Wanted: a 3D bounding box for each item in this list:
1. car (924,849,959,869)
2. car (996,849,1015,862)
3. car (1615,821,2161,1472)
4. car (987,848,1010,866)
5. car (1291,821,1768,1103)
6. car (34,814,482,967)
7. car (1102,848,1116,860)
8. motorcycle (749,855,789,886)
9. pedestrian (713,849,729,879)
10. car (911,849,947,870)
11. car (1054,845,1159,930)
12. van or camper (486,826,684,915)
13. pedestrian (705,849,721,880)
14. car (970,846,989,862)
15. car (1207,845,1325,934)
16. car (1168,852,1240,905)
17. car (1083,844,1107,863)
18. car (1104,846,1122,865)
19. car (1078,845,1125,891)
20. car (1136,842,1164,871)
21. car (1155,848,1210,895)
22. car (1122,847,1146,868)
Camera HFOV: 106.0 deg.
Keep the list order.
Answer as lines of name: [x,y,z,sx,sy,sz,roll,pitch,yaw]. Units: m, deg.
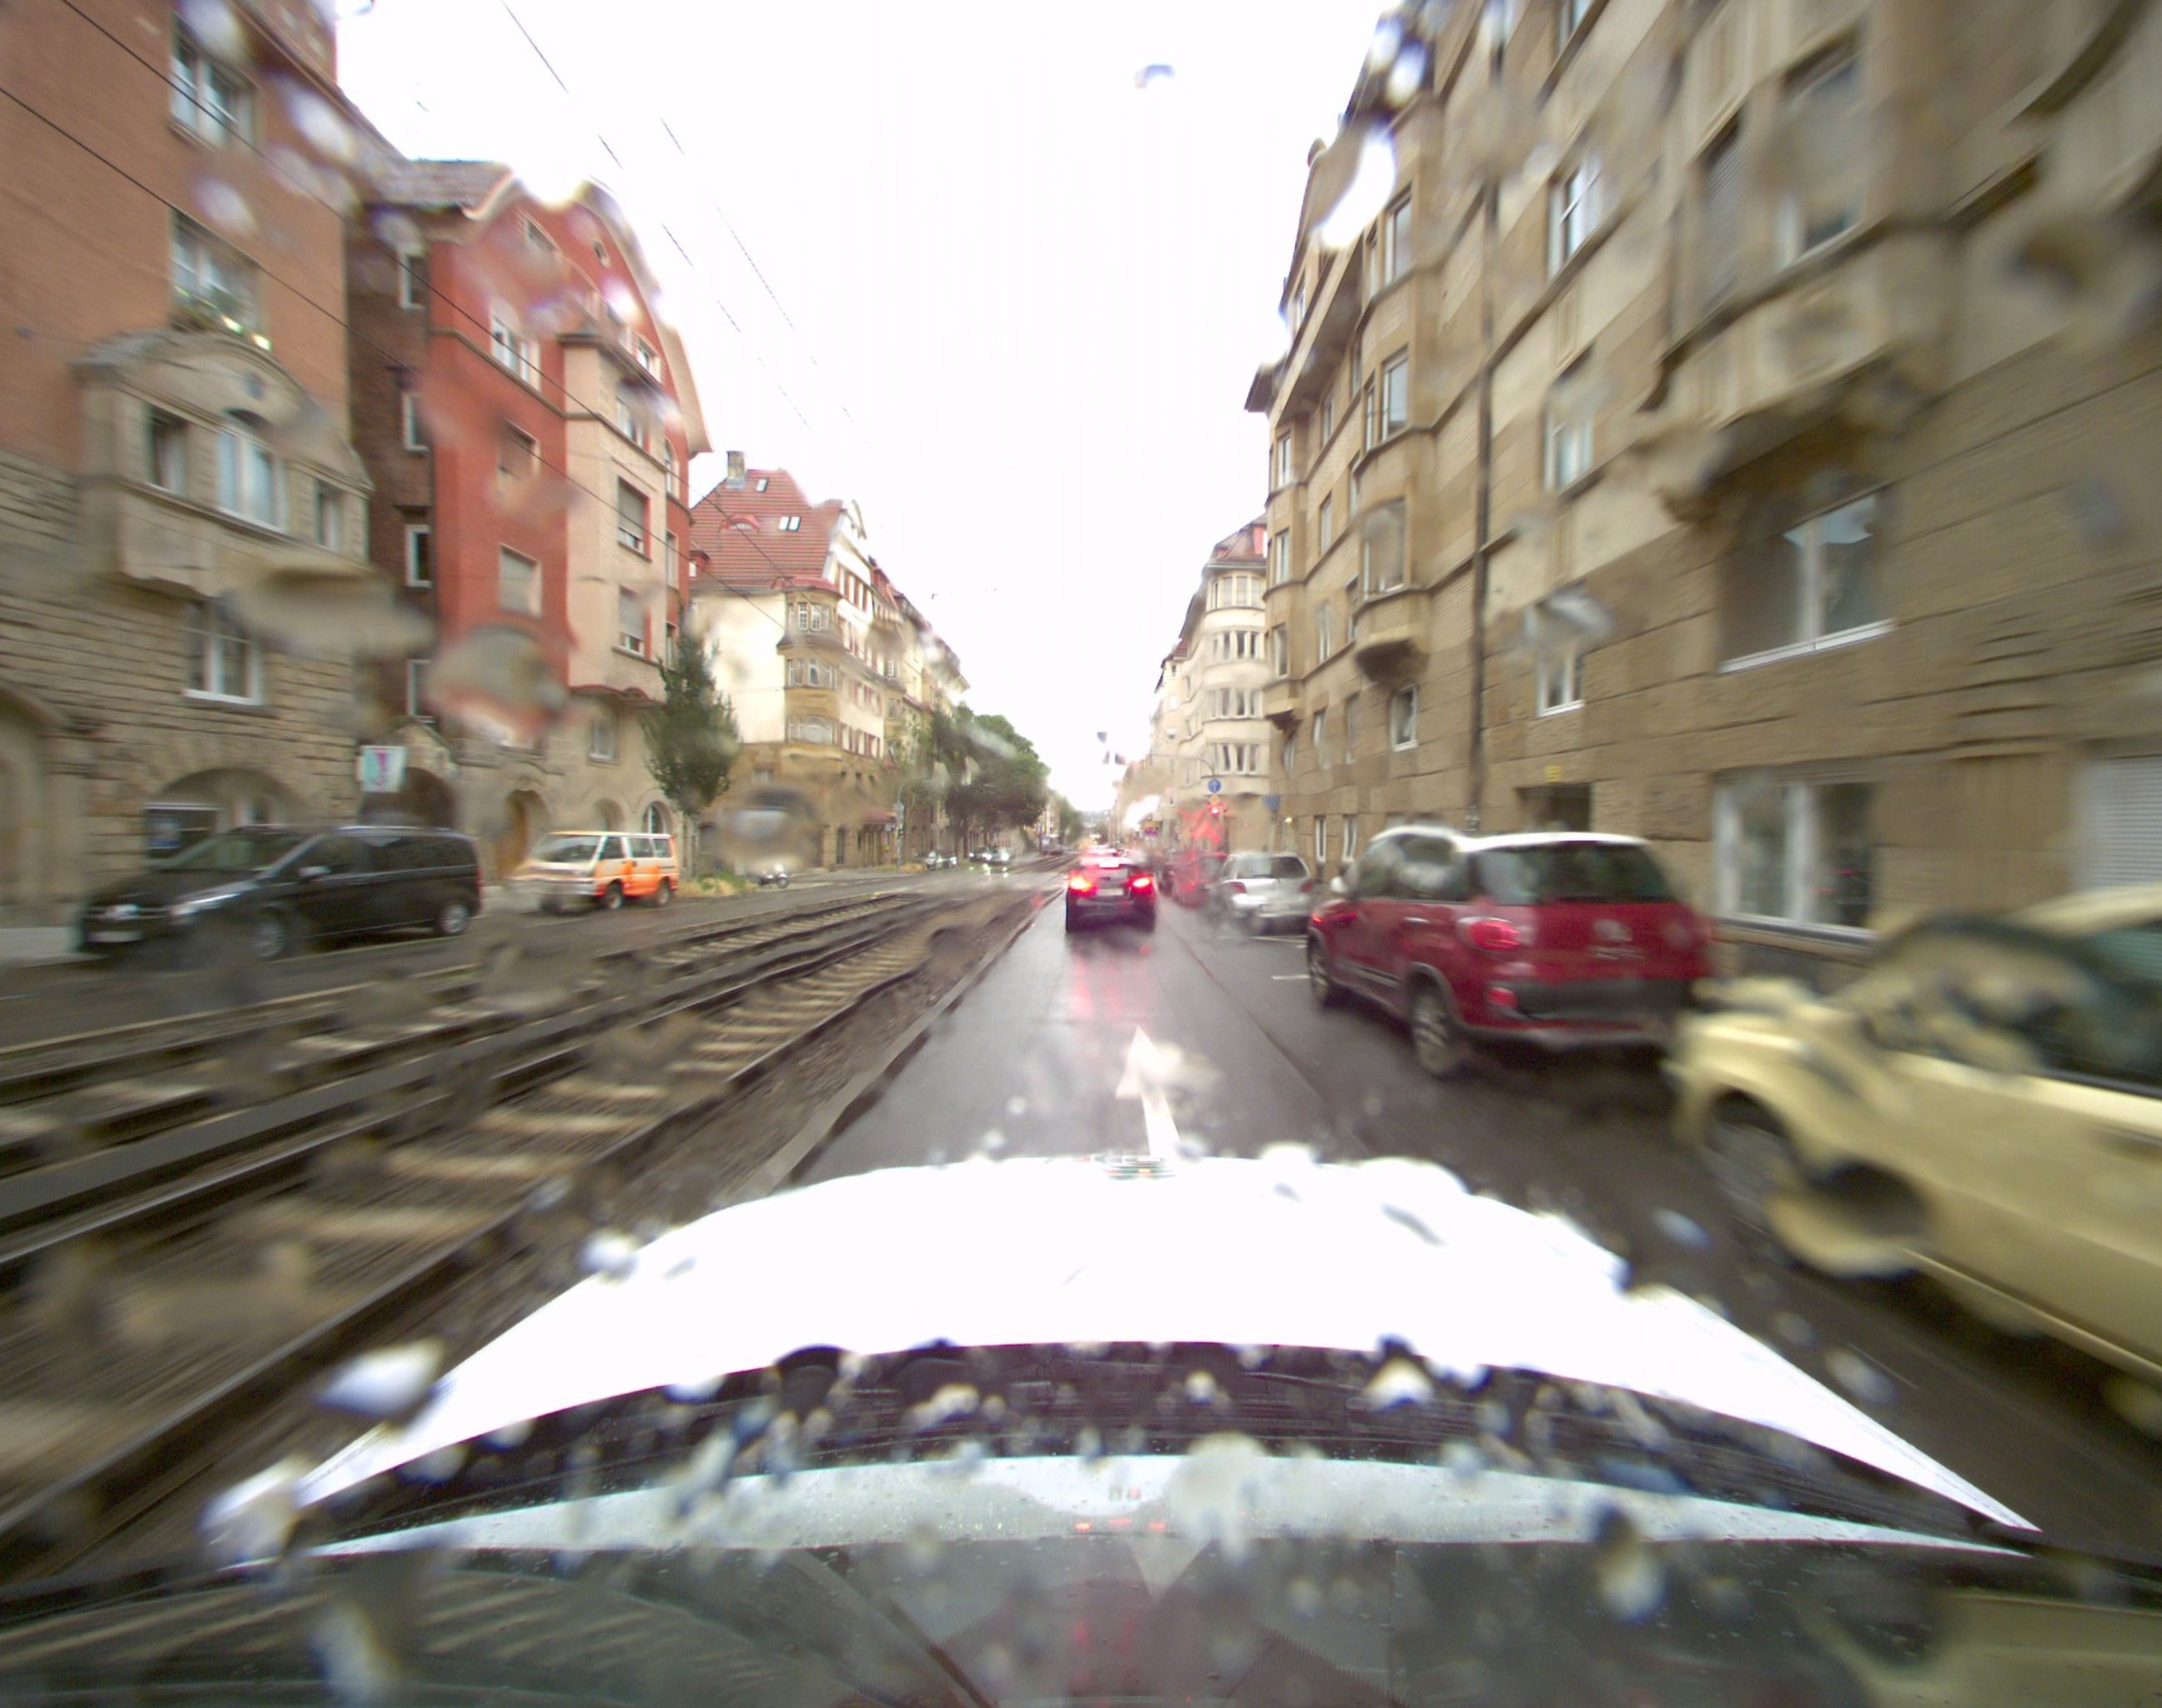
car: [-10.994,0.363,64.331,1.986,1.517,4.001,1,0,1]
car: [-10.227,0.152,110.600,1.925,1.728,4.187,1,0,1]
car: [3.249,0.678,2.094,1.553,1.478,3.462,1,0,2]
car: [-7.617,0.252,75.523,1.791,1.548,3.996,-2,0,-3]
car: [3.150,0.632,6.764,1.706,1.628,3.998,1,0,-1]
car: [-11.996,0.452,12.502,1.986,1.901,4.701,0,0,2]
car: [4.031,0.037,118.183,1.902,1.706,4.001,0,0,2]
motorcycle: [-11.773,0.605,30.745,1.423,1.134,0.624,1,-1,30]
pedestrian: [-20.738,0.575,46.896,0.605,1.733,0.643,1,0,2]
car: [-10.965,0.408,59.006,1.765,1.464,4.001,0,-1,1]
car: [0.488,0.636,16.914,1.940,1.565,3.642,0,-1,0]
van or camper: [-11.942,0.366,20.071,1.987,1.901,4.697,1,0,-1]
pedestrian: [-20.828,0.565,46.097,0.605,1.733,0.643,1,0,2]
car: [-10.593,0.002,85.116,1.786,1.691,3.994,1,0,-5]
car: [3.536,0.624,16.121,1.632,1.543,3.467,1,0,2]
car: [3.489,0.662,23.519,1.597,1.419,3.148,0,0,0]
car: [1.242,-0.049,70.997,1.913,1.655,4.004,1,0,4]
car: [3.279,0.172,83.845,1.846,1.797,3.812,0,-1,1]
car: [0.743,0.455,28.835,1.530,1.510,4.002,1,0,2]
car: [5.060,0.200,60.176,1.891,2.028,4.177,0,-1,2]
car: [3.532,0.586,28.868,1.543,1.508,4.001,1,0,2]
car: [4.718,0.363,72.624,1.764,1.776,3.996,0,-1,-2]
